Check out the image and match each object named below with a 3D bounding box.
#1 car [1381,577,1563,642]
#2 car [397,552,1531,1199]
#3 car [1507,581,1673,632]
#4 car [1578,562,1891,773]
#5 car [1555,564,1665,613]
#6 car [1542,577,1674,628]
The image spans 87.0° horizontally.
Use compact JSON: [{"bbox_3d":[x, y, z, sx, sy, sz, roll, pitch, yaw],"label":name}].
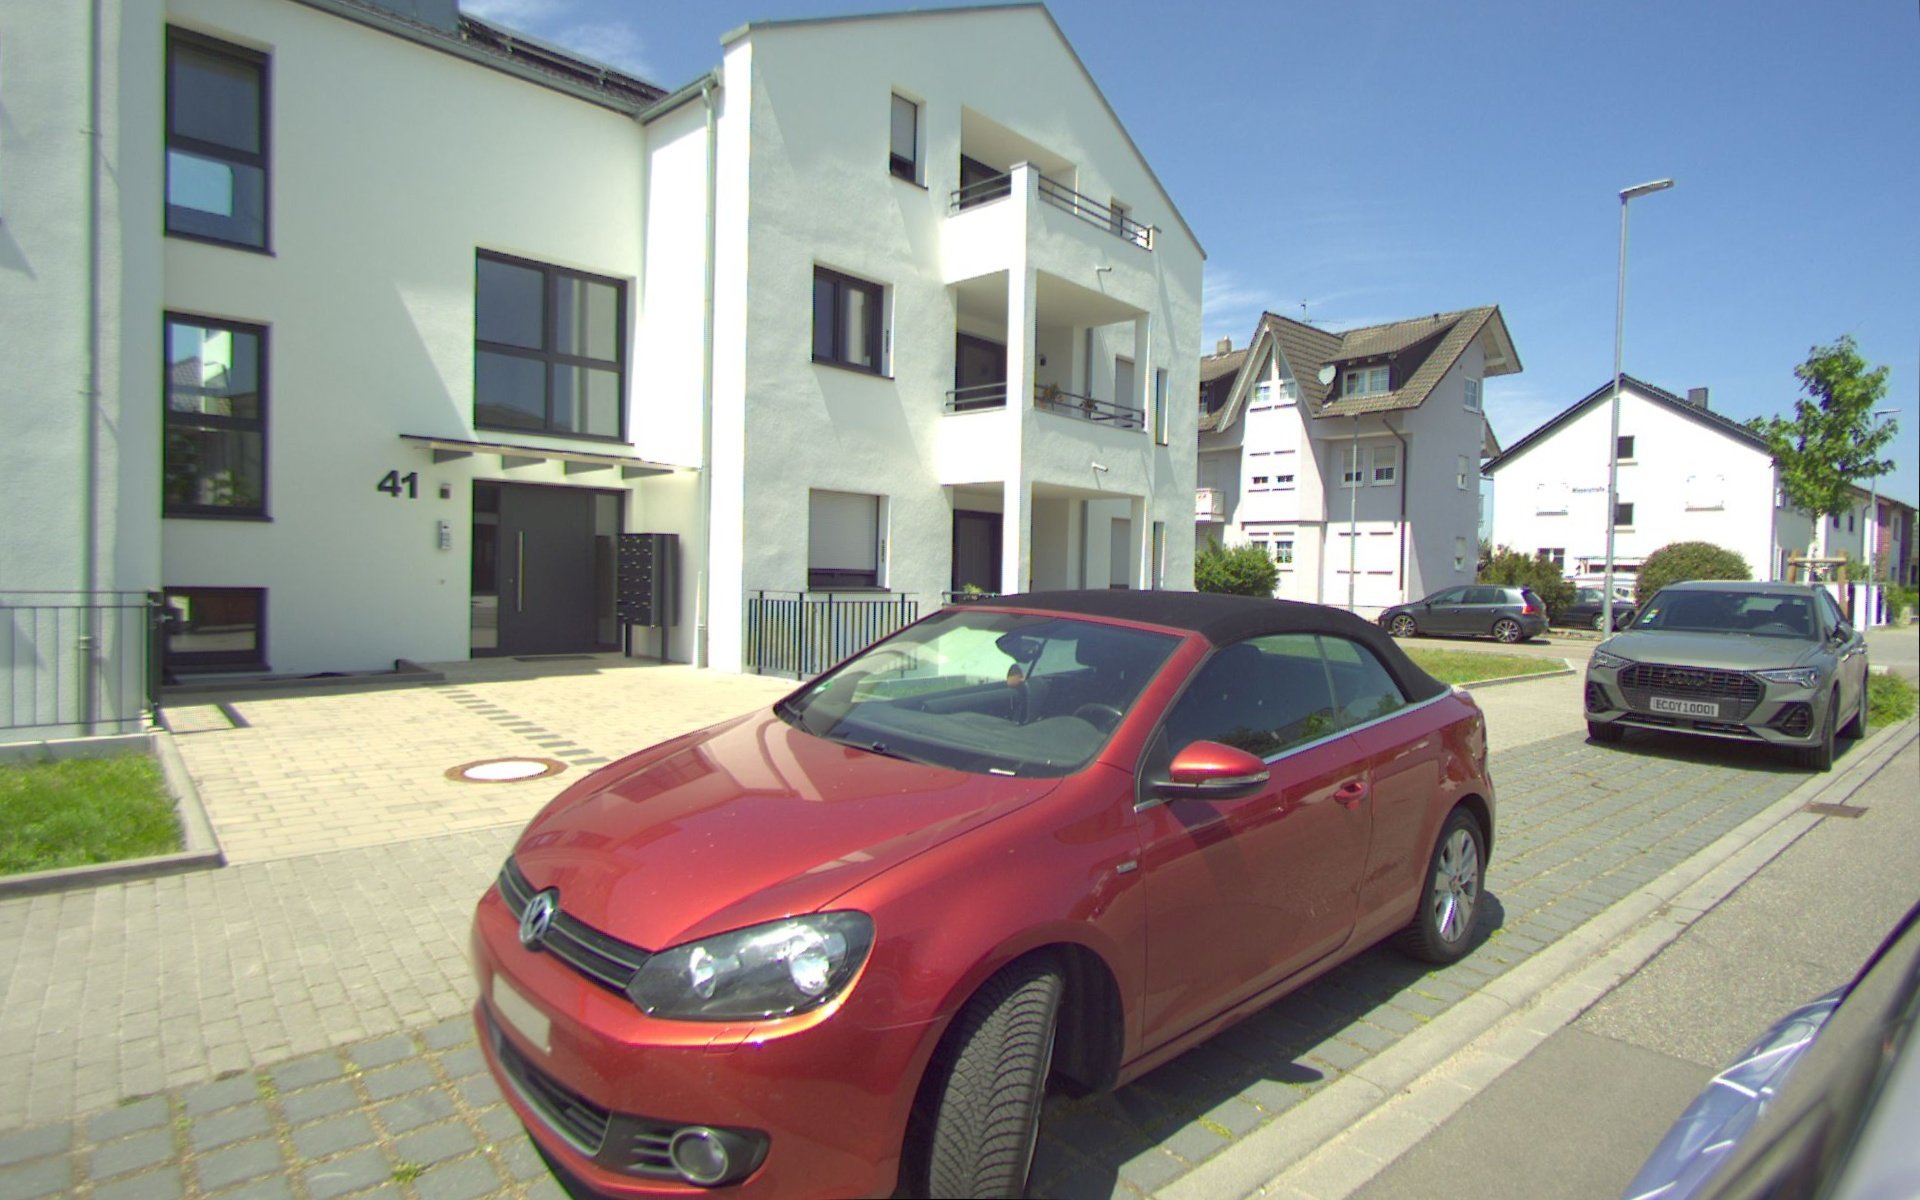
[{"bbox_3d":[13.561,0.201,26.916,3.990,1.485,1.729,4,2,42],"label":"car"},{"bbox_3d":[0.426,0.642,3.610,3.959,1.459,1.682,0,2,-44],"label":"car"},{"bbox_3d":[20.127,0.160,32.458,1.637,1.391,4.206,1,2,-44],"label":"car"},{"bbox_3d":[7.812,0.503,10.052,4.207,1.615,1.775,0,3,-44],"label":"car"},{"bbox_3d":[26.587,-0.486,41.451,1.741,1.834,3.392,1,2,-41],"label":"car"},{"bbox_3d":[21.809,0.051,34.126,1.637,1.513,3.448,1,2,-44],"label":"car"}]
